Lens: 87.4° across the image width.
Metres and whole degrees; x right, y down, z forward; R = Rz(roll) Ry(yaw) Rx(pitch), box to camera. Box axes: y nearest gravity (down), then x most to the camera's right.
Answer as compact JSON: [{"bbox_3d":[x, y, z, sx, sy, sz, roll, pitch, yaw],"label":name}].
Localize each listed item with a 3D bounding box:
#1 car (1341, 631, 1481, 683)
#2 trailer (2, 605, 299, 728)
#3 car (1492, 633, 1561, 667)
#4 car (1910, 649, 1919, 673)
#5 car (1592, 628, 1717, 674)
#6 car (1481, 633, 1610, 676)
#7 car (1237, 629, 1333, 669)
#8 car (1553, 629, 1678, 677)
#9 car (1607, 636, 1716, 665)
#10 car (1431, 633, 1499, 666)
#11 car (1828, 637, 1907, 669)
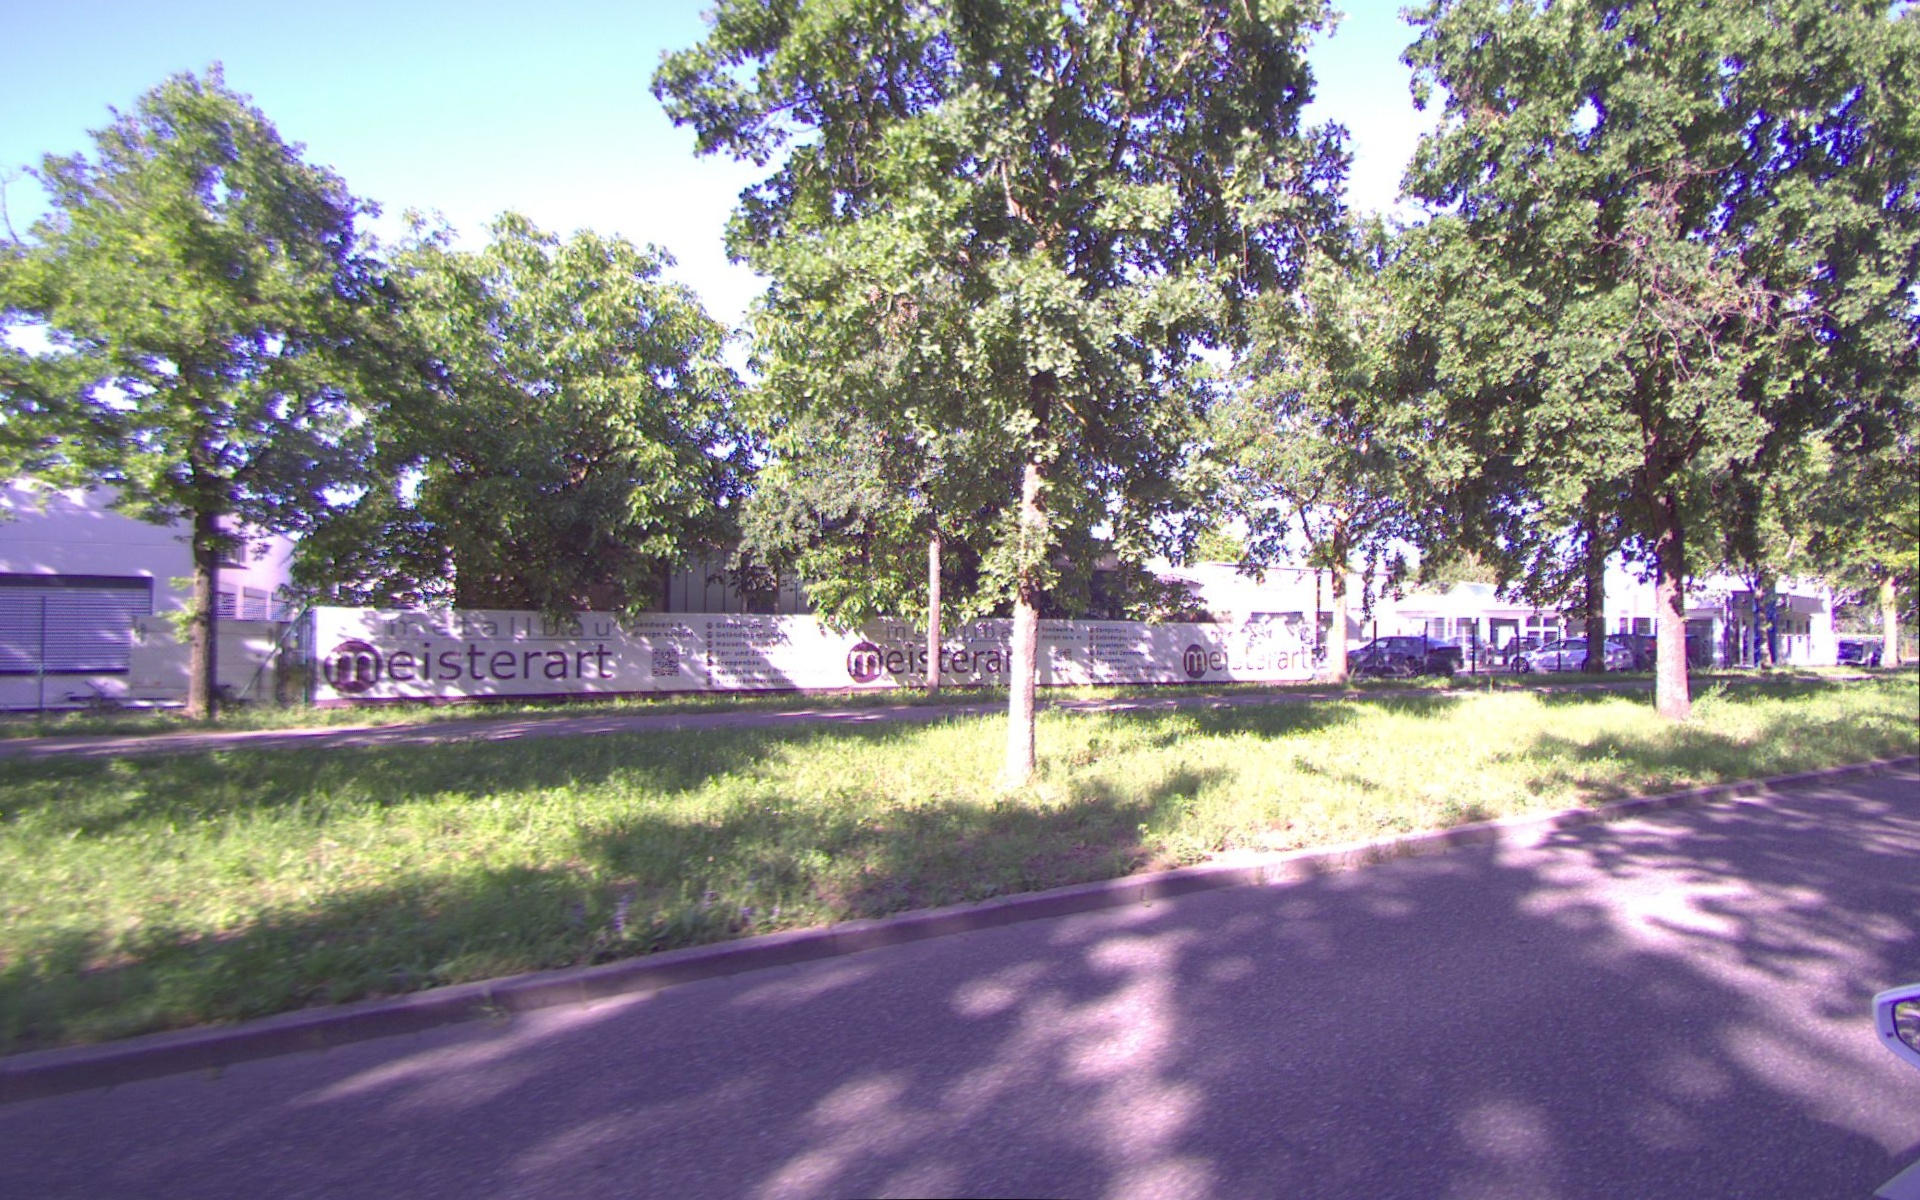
[{"bbox_3d":[15.772,1.957,35.306,2.173,1.539,3.968,2,0,-30],"label":"car"},{"bbox_3d":[-14.524,1.149,18.338,3.914,2.040,1.747,1,-1,-28],"label":"trailer"},{"bbox_3d":[30.793,2.670,54.517,1.973,1.712,5.227,2,0,44],"label":"car"},{"bbox_3d":[67.056,4.191,68.772,4.965,1.619,1.980,2,0,-35],"label":"car"},{"bbox_3d":[29.906,2.172,43.357,1.976,1.765,3.969,2,0,-29],"label":"car"},{"bbox_3d":[24.157,2.213,41.595,1.840,1.539,4.290,2,0,-30],"label":"car"},{"bbox_3d":[14.578,2.181,45.250,1.731,1.539,3.968,2,0,-30],"label":"car"},{"bbox_3d":[27.363,2.181,42.020,1.840,1.769,3.968,2,0,-30],"label":"car"},{"bbox_3d":[42.630,3.070,61.147,5.153,1.683,2.001,0,0,6],"label":"car"},{"bbox_3d":[28.766,2.768,57.160,1.973,1.683,5.227,2,0,44],"label":"car"},{"bbox_3d":[44.784,2.613,49.609,1.402,1.489,2.567,1,-1,-16],"label":"car"}]
